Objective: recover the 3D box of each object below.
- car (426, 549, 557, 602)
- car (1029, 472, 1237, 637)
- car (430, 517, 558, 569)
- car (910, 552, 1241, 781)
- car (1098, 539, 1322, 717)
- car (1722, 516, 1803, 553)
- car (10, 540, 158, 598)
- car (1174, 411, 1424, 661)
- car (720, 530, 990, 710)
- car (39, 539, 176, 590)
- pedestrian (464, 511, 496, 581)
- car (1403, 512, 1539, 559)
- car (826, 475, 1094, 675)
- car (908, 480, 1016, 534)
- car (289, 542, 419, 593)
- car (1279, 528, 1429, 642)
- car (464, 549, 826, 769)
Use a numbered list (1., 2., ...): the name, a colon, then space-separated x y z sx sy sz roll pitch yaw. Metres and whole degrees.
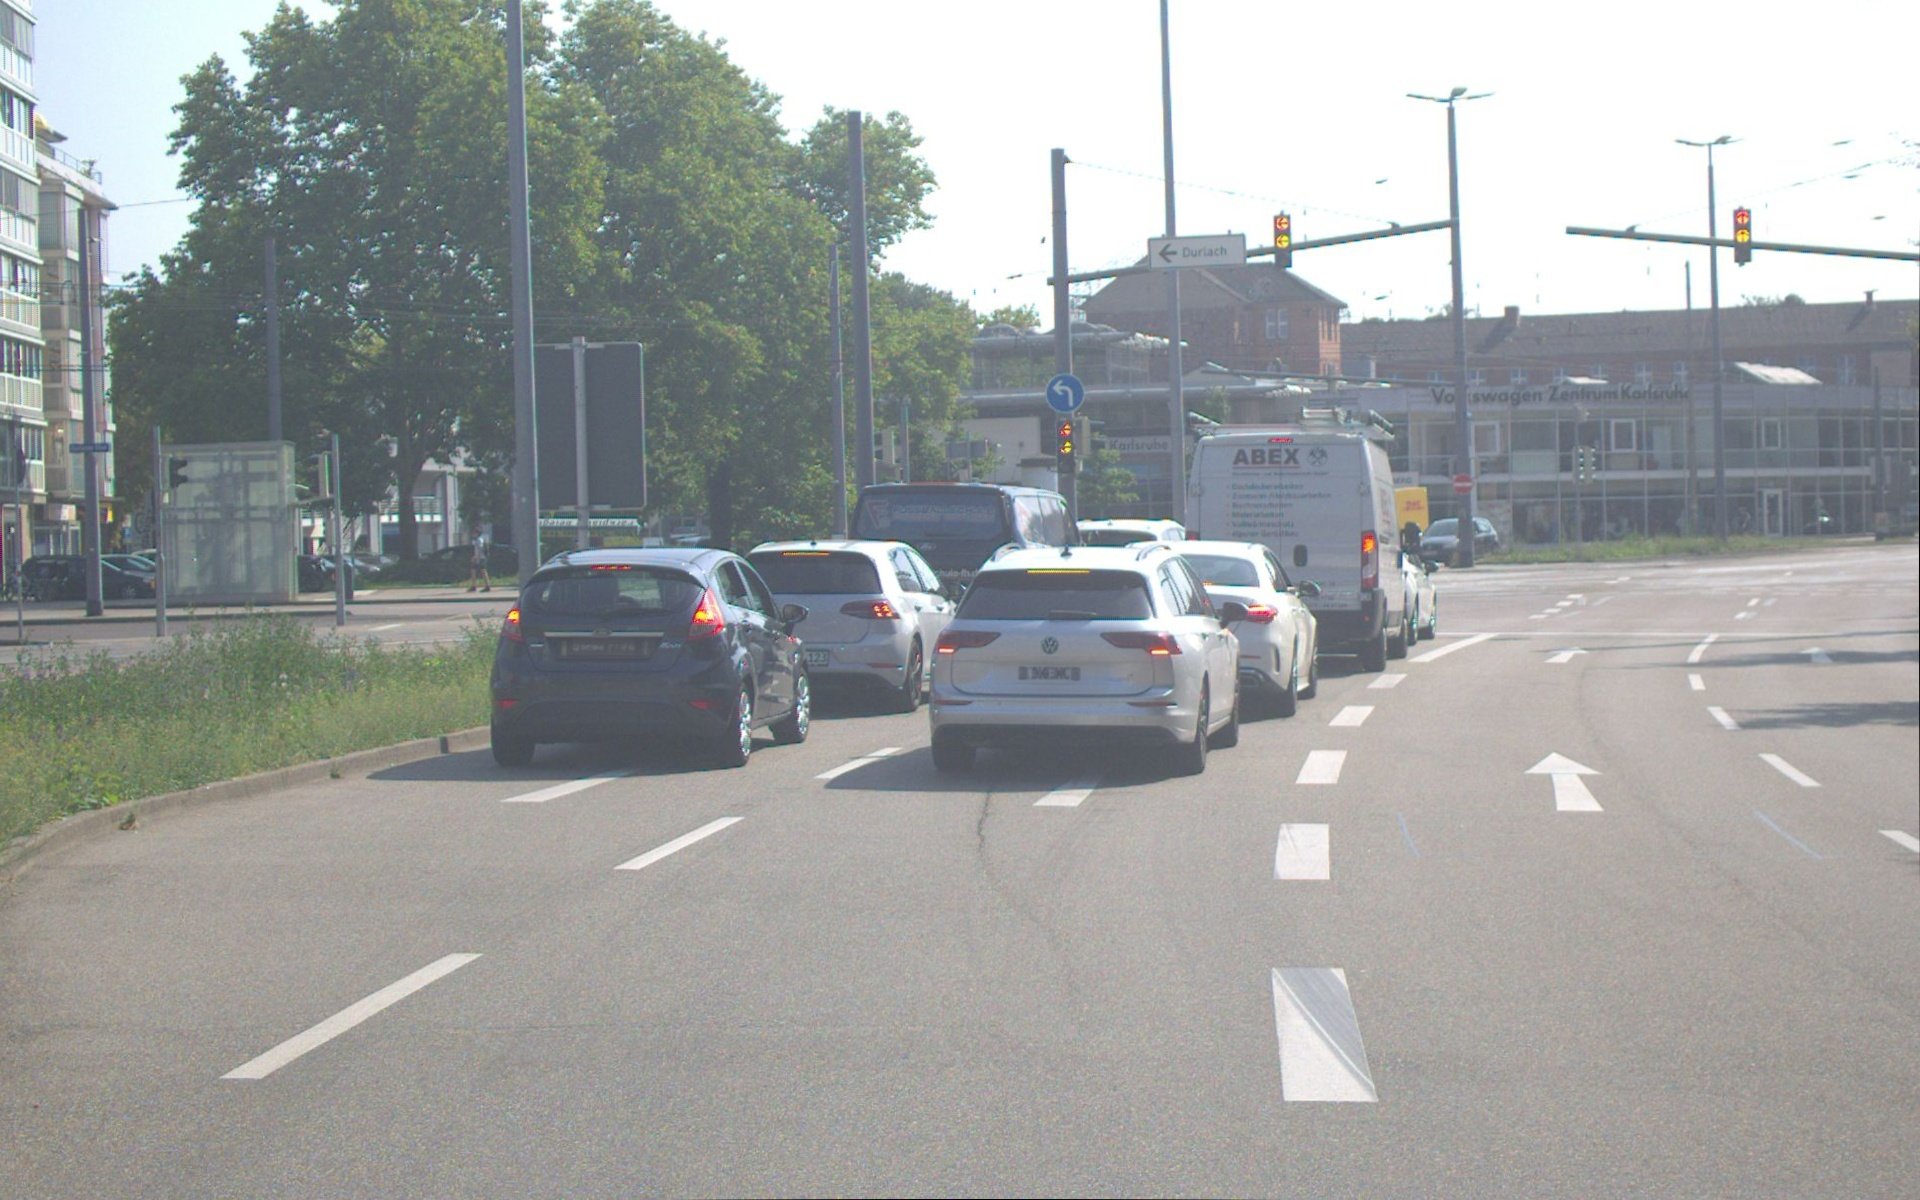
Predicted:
1. car: -15.318 -0.804 112.595 3.987 1.612 1.813 -1 1 1
2. car: 2.298 -0.597 44.399 2.024 2.001 4.682 0 1 11
3. car: -15.521 -1.903 114.667 3.987 1.612 1.813 -1 1 1
4. car: 0.841 0.383 22.730 1.685 1.383 3.633 0 1 10
5. car: 2.171 0.199 29.064 1.489 1.398 3.941 0 1 10
6. car: 33.302 -2.731 142.682 1.997 1.437 3.993 0 2 33
7. car: -26.340 -0.940 103.437 3.986 1.552 1.869 -1 4 -3
8. car: 3.786 -0.684 37.671 2.190 2.540 4.681 0 1 12
9. car: -0.840 0.128 29.751 1.490 1.410 3.646 -1 2 12
10. car: -27.337 -1.145 110.347 3.986 1.552 1.869 -1 1 -4
11. pedestrian: -13.802 -1.558 98.841 0.822 2.007 0.509 -1 1 -1
12. car: 15.619 -1.988 105.300 3.966 1.337 1.930 -1 1 4
13. car: 0.082 -0.295 36.990 2.024 2.001 4.682 0 1 11
14. car: 0.089 -3.654 135.105 3.988 2.006 2.000 0 4 8
15. car: -19.813 -1.076 112.490 3.986 1.552 1.728 -1 1 -4
16. car: 5.200 -0.223 45.049 1.638 1.398 3.686 -1 1 11
17. car: -2.080 0.350 23.765 1.701 1.363 3.963 -1 1 7
